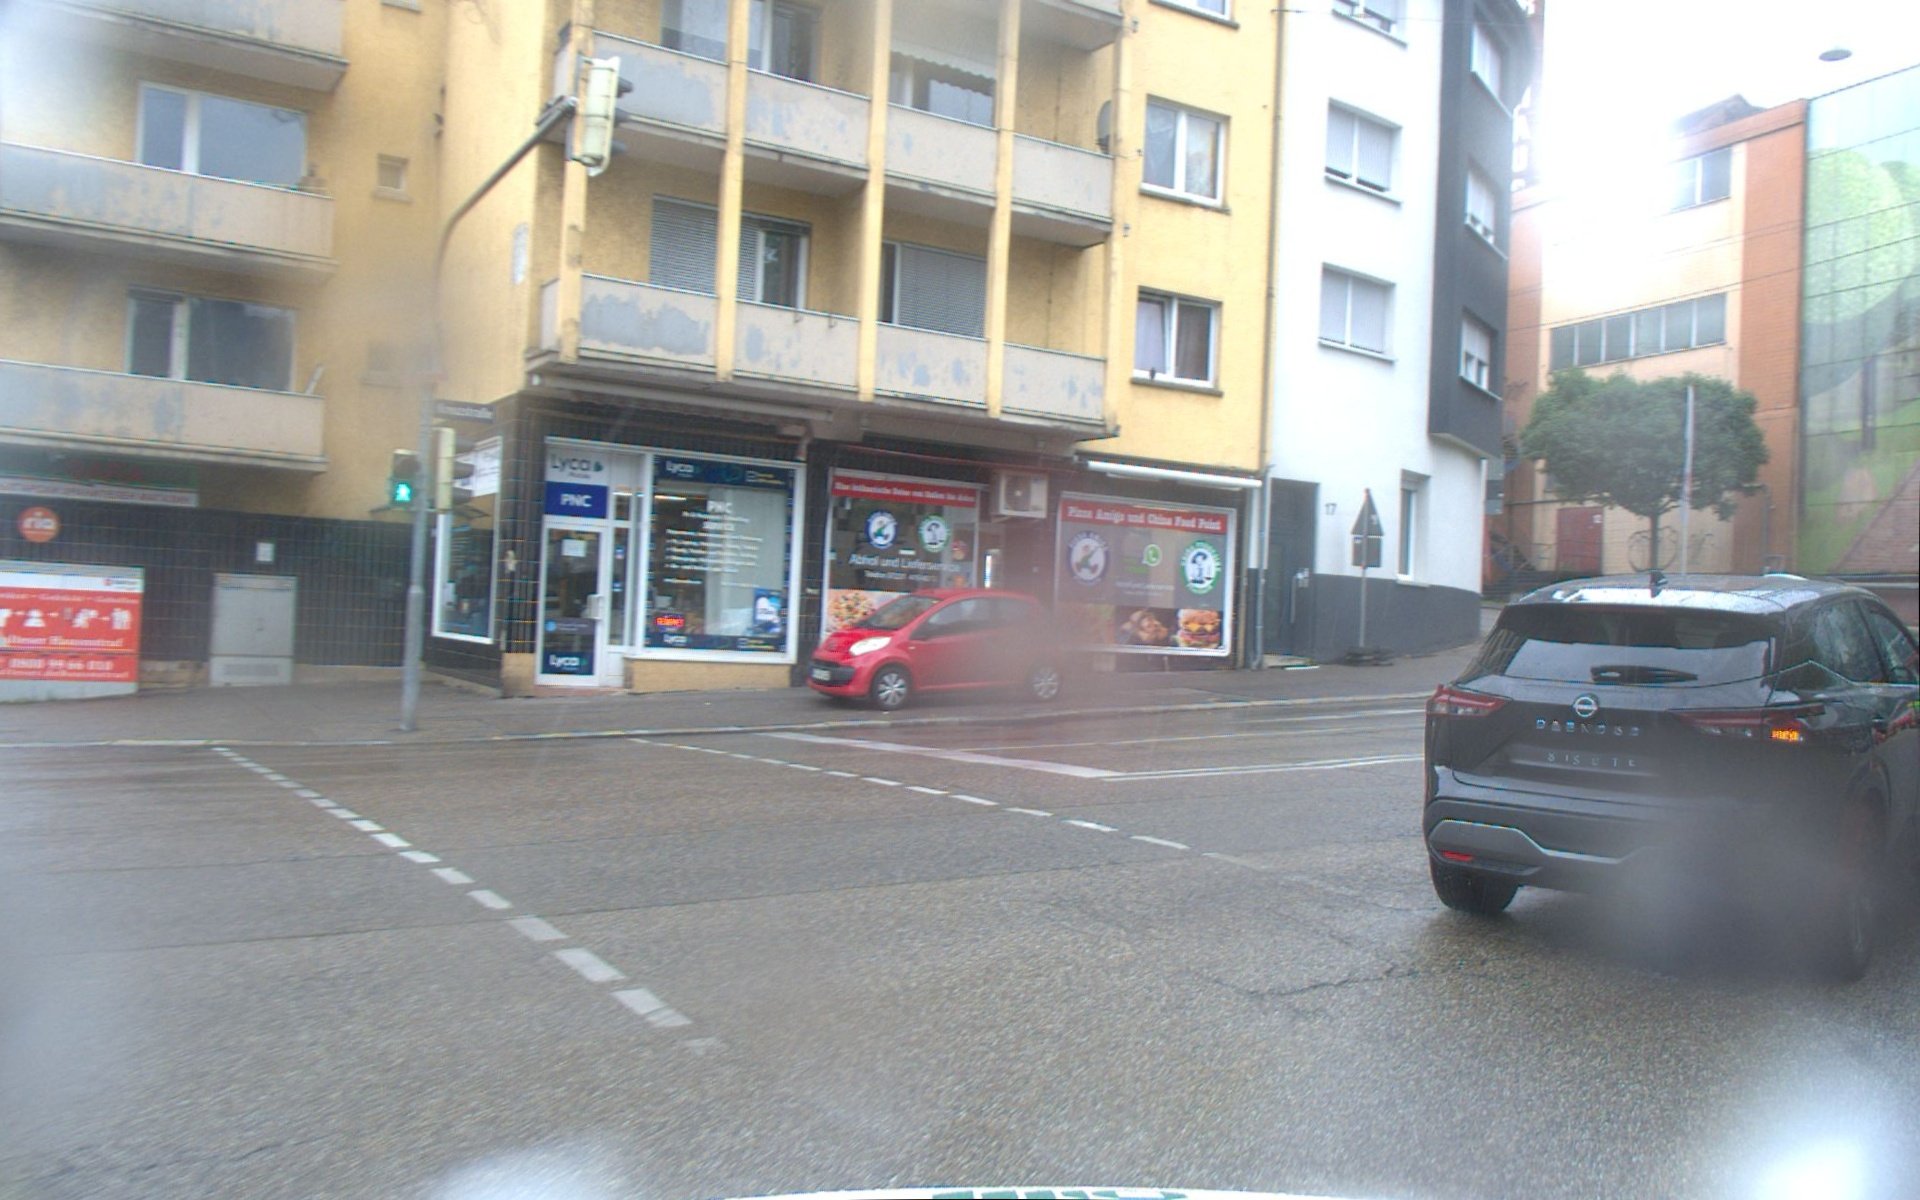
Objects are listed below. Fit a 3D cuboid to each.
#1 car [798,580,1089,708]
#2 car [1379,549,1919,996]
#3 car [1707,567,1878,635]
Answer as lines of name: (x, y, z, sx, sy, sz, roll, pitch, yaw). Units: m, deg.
car: (-0.196, 0.527, 21.691, 3.486, 1.489, 1.599, 0, 3, -31)
car: (3.828, 0.661, 8.157, 1.853, 1.621, 3.899, 2, 0, 41)
car: (24.702, -0.010, 49.318, 1.820, 1.645, 4.903, 3, 3, -12)
